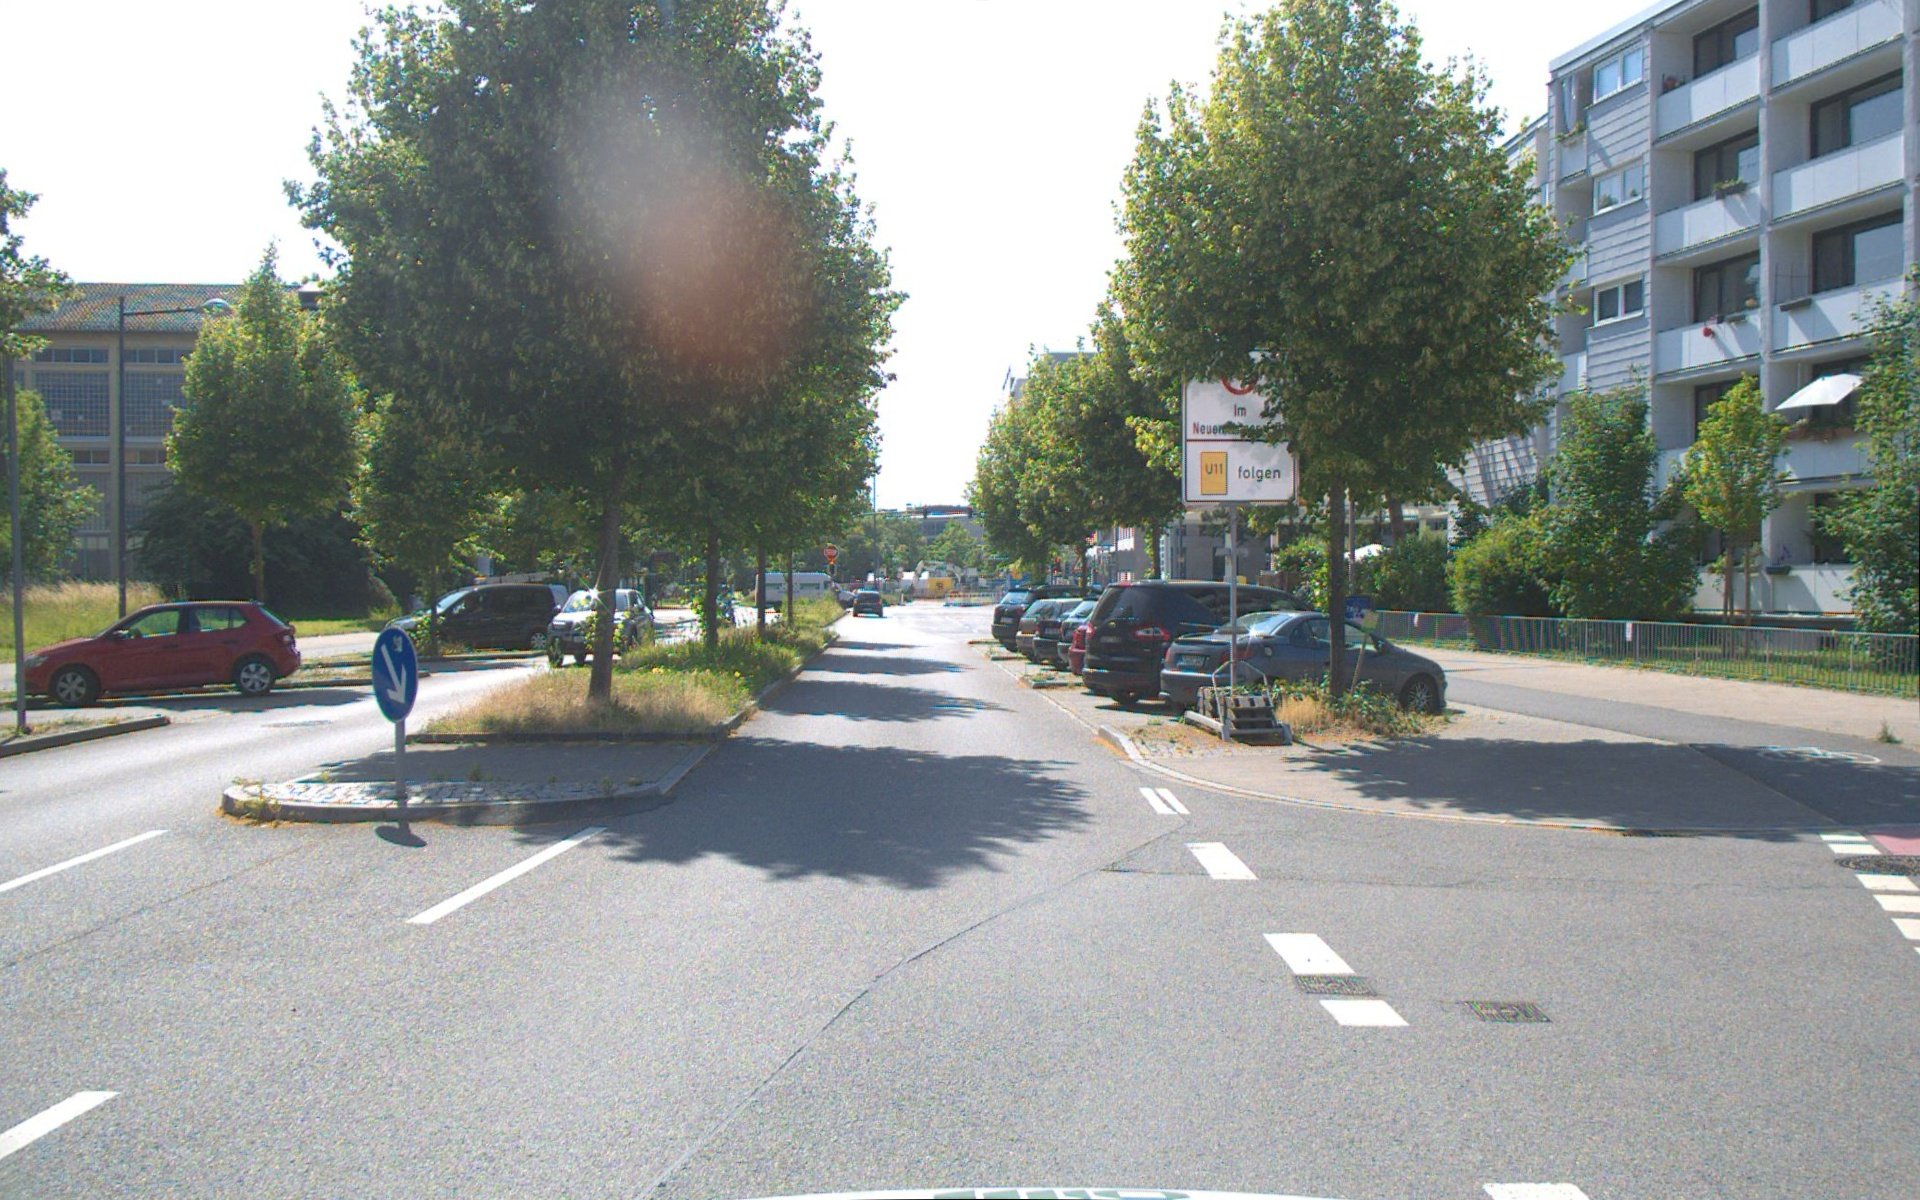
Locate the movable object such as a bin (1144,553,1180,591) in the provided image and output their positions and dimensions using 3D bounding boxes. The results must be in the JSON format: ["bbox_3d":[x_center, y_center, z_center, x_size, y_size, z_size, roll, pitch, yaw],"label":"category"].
[{"bbox_3d":[9.162,-1.267,75.070,1.282,1.619,1.394,-3,1,-5],"label":"movable object such as a bin"}]

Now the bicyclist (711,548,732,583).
[{"bbox_3d":[-20.368,-2.908,141.235,1.567,2.982,2.352,0,1,-3],"label":"bicyclist"}]

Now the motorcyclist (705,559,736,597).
[{"bbox_3d":[-7.886,-0.715,54.433,0.882,1.242,1.061,0,1,-2],"label":"motorcyclist"}]

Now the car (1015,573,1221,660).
[{"bbox_3d":[3.261,0.297,34.147,3.935,1.668,1.740,-1,2,-25],"label":"car"}]

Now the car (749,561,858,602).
[{"bbox_3d":[-10.568,-1.277,111.848,7.285,2.720,2.900,-1,2,-6],"label":"car"}]

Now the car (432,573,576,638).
[{"bbox_3d":[-13.111,0.126,47.557,3.720,1.803,1.802,-1,1,-29],"label":"car"}]

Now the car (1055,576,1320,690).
[{"bbox_3d":[3.636,0.481,26.238,3.953,1.668,1.858,-1,-1,-35],"label":"car"}]

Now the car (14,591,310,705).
[{"bbox_3d":[-12.214,0.686,25.581,3.934,1.492,1.986,-2,2,-24],"label":"car"}]

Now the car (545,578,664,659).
[{"bbox_3d":[-7.479,0.346,35.156,1.706,1.574,4.072,-2,1,-1],"label":"car"}]

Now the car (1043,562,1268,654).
[{"bbox_3d":[3.745,0.117,31.703,3.931,1.668,1.789,-1,1,-22],"label":"car"}]

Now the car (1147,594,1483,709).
[{"bbox_3d":[4.429,0.577,20.555,3.942,1.258,1.737,-1,1,-29],"label":"car"}]

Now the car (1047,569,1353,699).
[{"bbox_3d":[3.422,0.407,23.355,4.074,1.668,2.019,-1,1,-36],"label":"car"}]

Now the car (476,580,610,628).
[{"bbox_3d":[-13.204,0.096,52.433,3.804,1.448,1.692,-1,1,-39],"label":"car"}]

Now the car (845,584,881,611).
[{"bbox_3d":[-5.553,-0.160,94.378,1.955,1.422,3.996,0,1,-6],"label":"car"}]

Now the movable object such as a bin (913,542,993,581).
[{"bbox_3d":[-0.866,-4.594,197.261,9.478,4.629,3.164,0,1,-1],"label":"movable object such as a bin"}]

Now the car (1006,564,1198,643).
[{"bbox_3d":[3.128,0.056,36.655,3.920,1.668,1.746,0,1,-15],"label":"car"}]

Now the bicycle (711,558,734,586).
[{"bbox_3d":[-20.403,-2.401,142.058,1.567,2.308,3.998,0,1,-2],"label":"bicycle"}]

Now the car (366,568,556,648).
[{"bbox_3d":[-12.529,0.156,41.651,4.150,1.848,1.975,-2,2,-41],"label":"car"}]

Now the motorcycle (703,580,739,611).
[{"bbox_3d":[-7.888,-0.157,54.580,0.904,1.010,2.234,0,1,-1],"label":"motorcycle"}]

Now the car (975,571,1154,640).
[{"bbox_3d":[2.758,0.109,43.154,4.694,1.689,1.730,-1,1,-37],"label":"car"}]
